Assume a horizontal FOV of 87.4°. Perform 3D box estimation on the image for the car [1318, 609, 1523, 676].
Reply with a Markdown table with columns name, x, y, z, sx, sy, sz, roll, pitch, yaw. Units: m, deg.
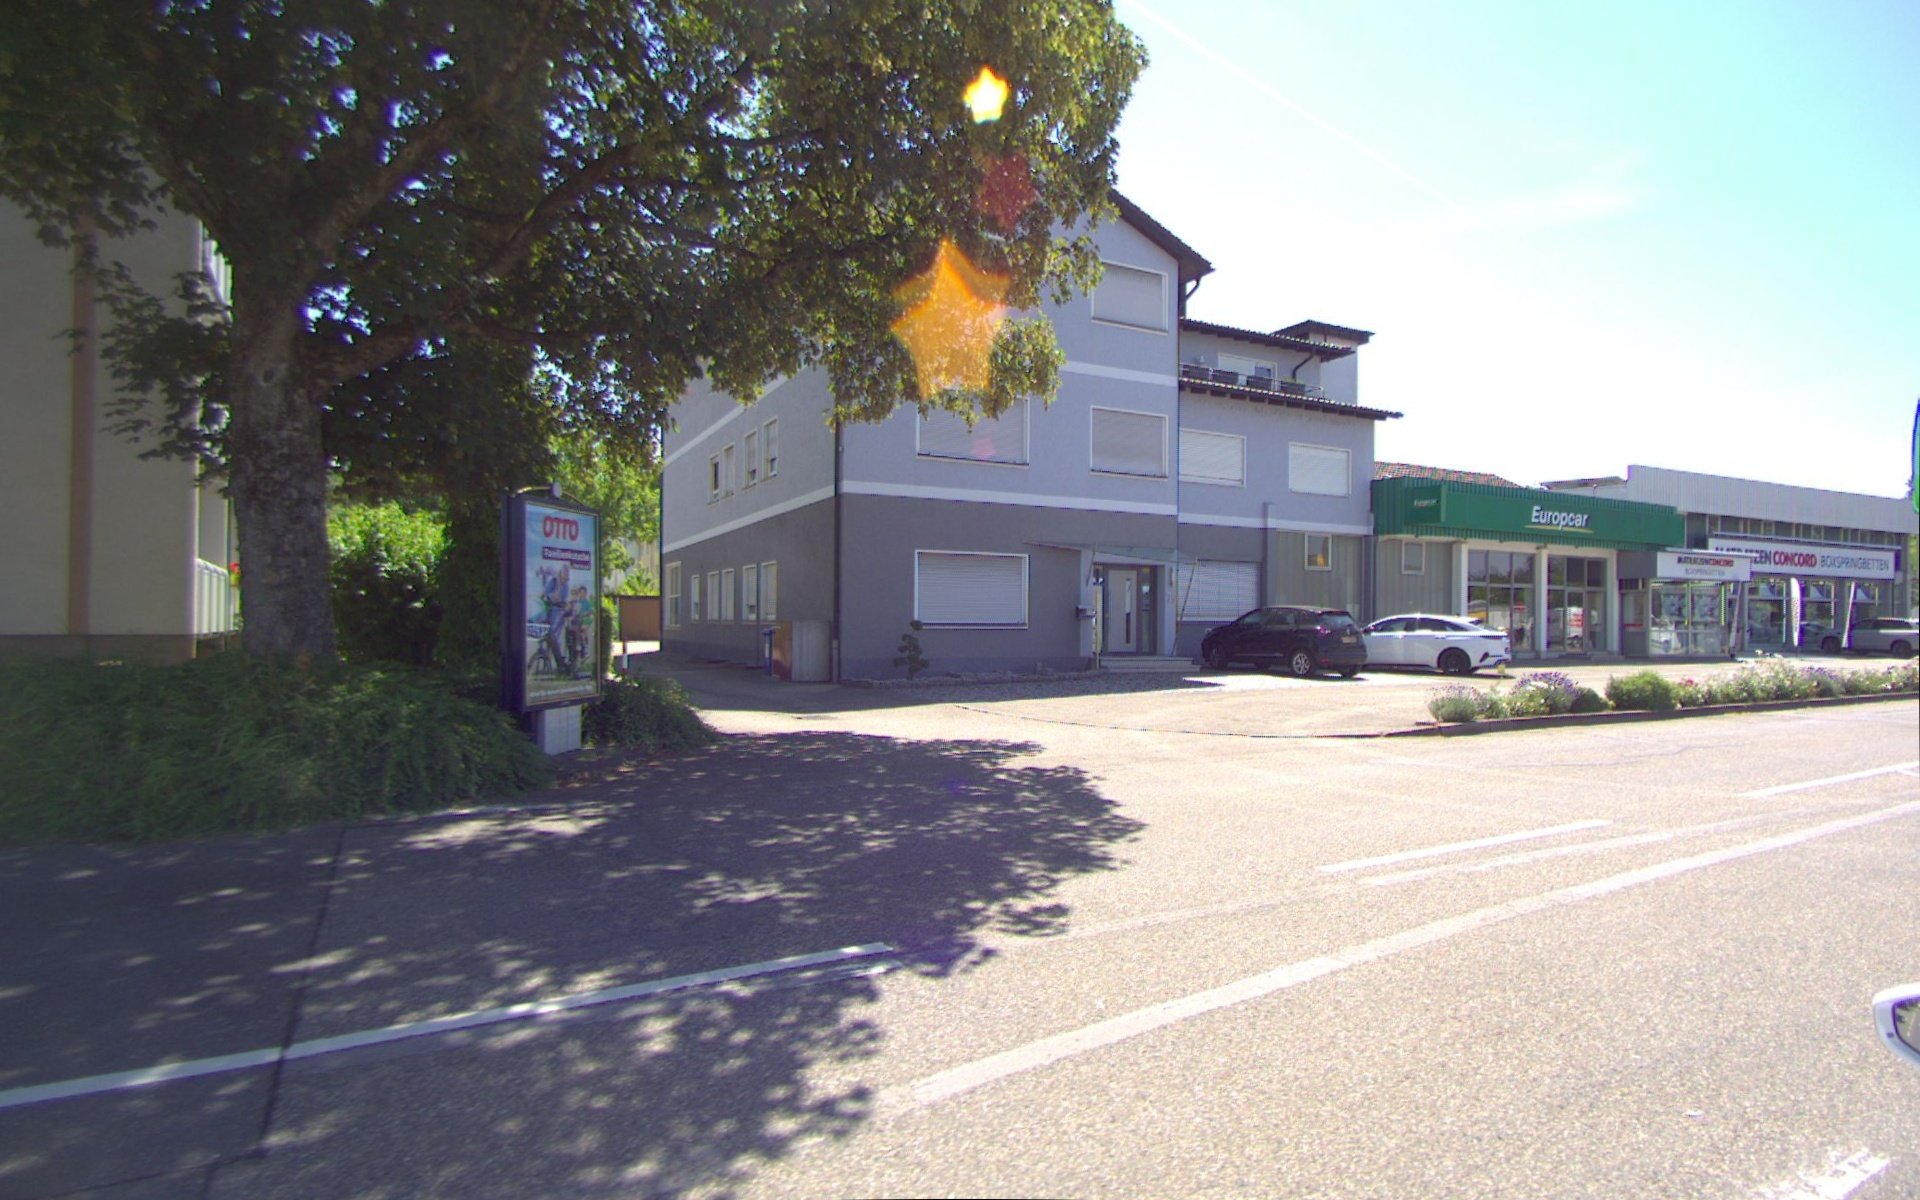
| name | x | y | z | sx | sy | sz | roll | pitch | yaw |
| --- | --- | --- | --- | --- | --- | --- | --- | --- | --- |
| car | 11.324 | 0.990 | 24.844 | 4.287 | 1.458 | 1.932 | 1 | -1 | 38 |

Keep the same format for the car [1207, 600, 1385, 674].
| name | x | y | z | sx | sy | sz | roll | pitch | yaw |
| --- | --- | --- | --- | --- | --- | --- | --- | --- | --- |
| car | 7.740 | 0.814 | 23.426 | 1.946 | 1.586 | 3.544 | 2 | -1 | -30 |

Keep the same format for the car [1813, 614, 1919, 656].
| name | x | y | z | sx | sy | sz | roll | pitch | yaw |
| --- | --- | --- | --- | --- | --- | --- | --- | --- | --- |
| car | 39.729 | 1.470 | 43.112 | 1.964 | 1.686 | 4.536 | 1 | 0 | -11 |

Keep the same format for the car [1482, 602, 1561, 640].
| name | x | y | z | sx | sy | sz | roll | pitch | yaw |
| --- | --- | --- | --- | --- | --- | --- | --- | --- | --- |
| car | 41.764 | 1.566 | 74.672 | 5.825 | 2.662 | 2.272 | 2 | 0 | -27 |

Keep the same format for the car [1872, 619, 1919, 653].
| name | x | y | z | sx | sy | sz | roll | pitch | yaw |
| --- | --- | --- | --- | --- | --- | --- | --- | --- | --- |
| car | 44.053 | 1.634 | 45.469 | 1.964 | 1.494 | 3.630 | 1 | 0 | -11 |

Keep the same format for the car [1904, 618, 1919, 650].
| name | x | y | z | sx | sy | sz | roll | pitch | yaw |
| --- | --- | --- | --- | --- | --- | --- | --- | --- | --- |
| car | 46.713 | 1.632 | 46.357 | 1.946 | 1.466 | 4.186 | 1 | 0 | -13 |
